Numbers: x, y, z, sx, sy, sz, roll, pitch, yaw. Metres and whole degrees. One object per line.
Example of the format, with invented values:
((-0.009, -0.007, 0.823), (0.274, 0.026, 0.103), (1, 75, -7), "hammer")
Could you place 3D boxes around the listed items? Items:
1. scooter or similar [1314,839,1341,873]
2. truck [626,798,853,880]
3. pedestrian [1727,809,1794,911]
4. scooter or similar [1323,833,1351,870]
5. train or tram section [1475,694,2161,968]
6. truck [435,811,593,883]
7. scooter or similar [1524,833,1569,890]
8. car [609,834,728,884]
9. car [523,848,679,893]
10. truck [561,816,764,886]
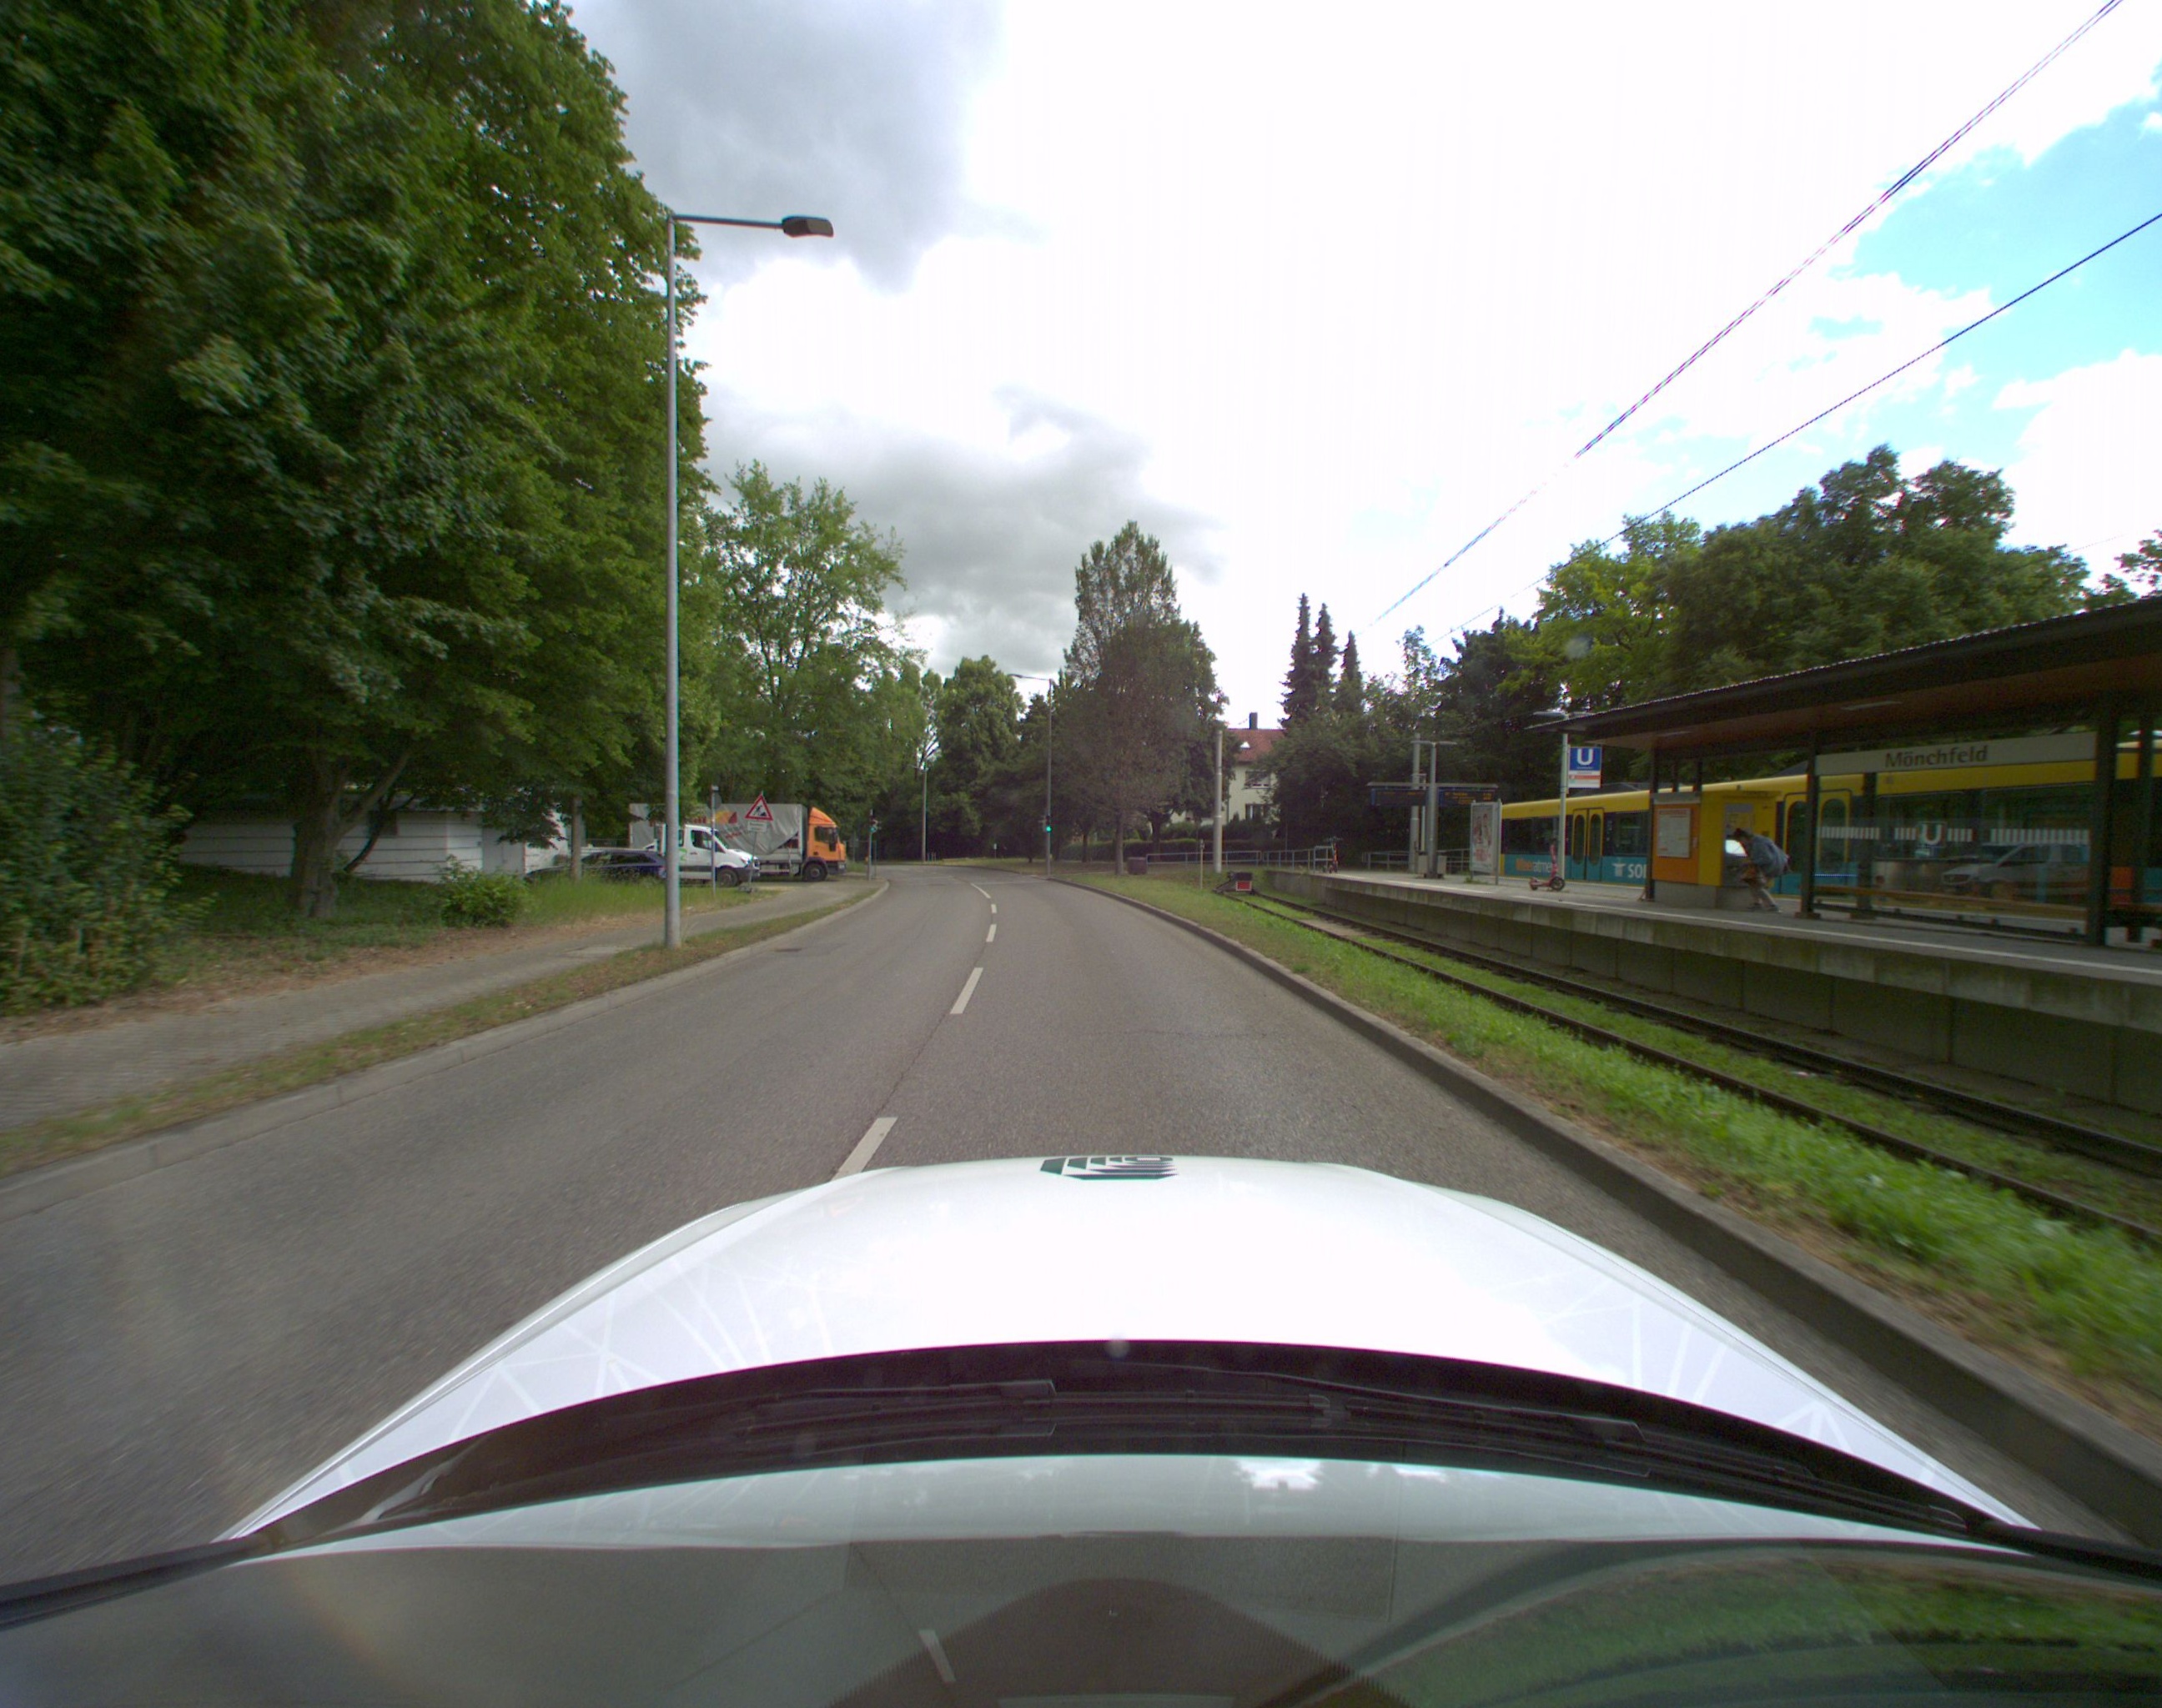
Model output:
((9.359, 0.086, 30.952), (0.430, 1.253, 1.250), (-1, -1, -11), "scooter or similar")
((-15.350, -0.618, 37.368), (9.241, 3.531, 2.553), (0, 0, -14), "truck")
((10.750, 0.089, 12.909), (0.617, 1.573, 0.668), (0, 0, 18), "pedestrian")
((8.880, -0.066, 28.278), (0.429, 1.253, 1.251), (-1, -1, -8), "scooter or similar")
((15.666, -0.439, 19.889), (2.804, 3.588, 19.517), (2, 1, 1), "train or tram section")
((-26.880, -0.400, 38.963), (5.934, 3.199, 2.430), (-1, 2, -31), "truck")
((10.545, 0.150, 18.464), (0.367, 1.242, 1.146), (0, 1, 1), "scooter or similar")
((-16.828, 0.199, 33.408), (3.994, 1.909, 1.773), (2, 0, -15), "car")
((-15.039, 0.545, 25.766), (4.002, 1.327, 1.705), (1, -2, -21), "car")
((-15.440, -0.064, 30.514), (6.398, 2.416, 2.112), (1, -1, -16), "truck")
